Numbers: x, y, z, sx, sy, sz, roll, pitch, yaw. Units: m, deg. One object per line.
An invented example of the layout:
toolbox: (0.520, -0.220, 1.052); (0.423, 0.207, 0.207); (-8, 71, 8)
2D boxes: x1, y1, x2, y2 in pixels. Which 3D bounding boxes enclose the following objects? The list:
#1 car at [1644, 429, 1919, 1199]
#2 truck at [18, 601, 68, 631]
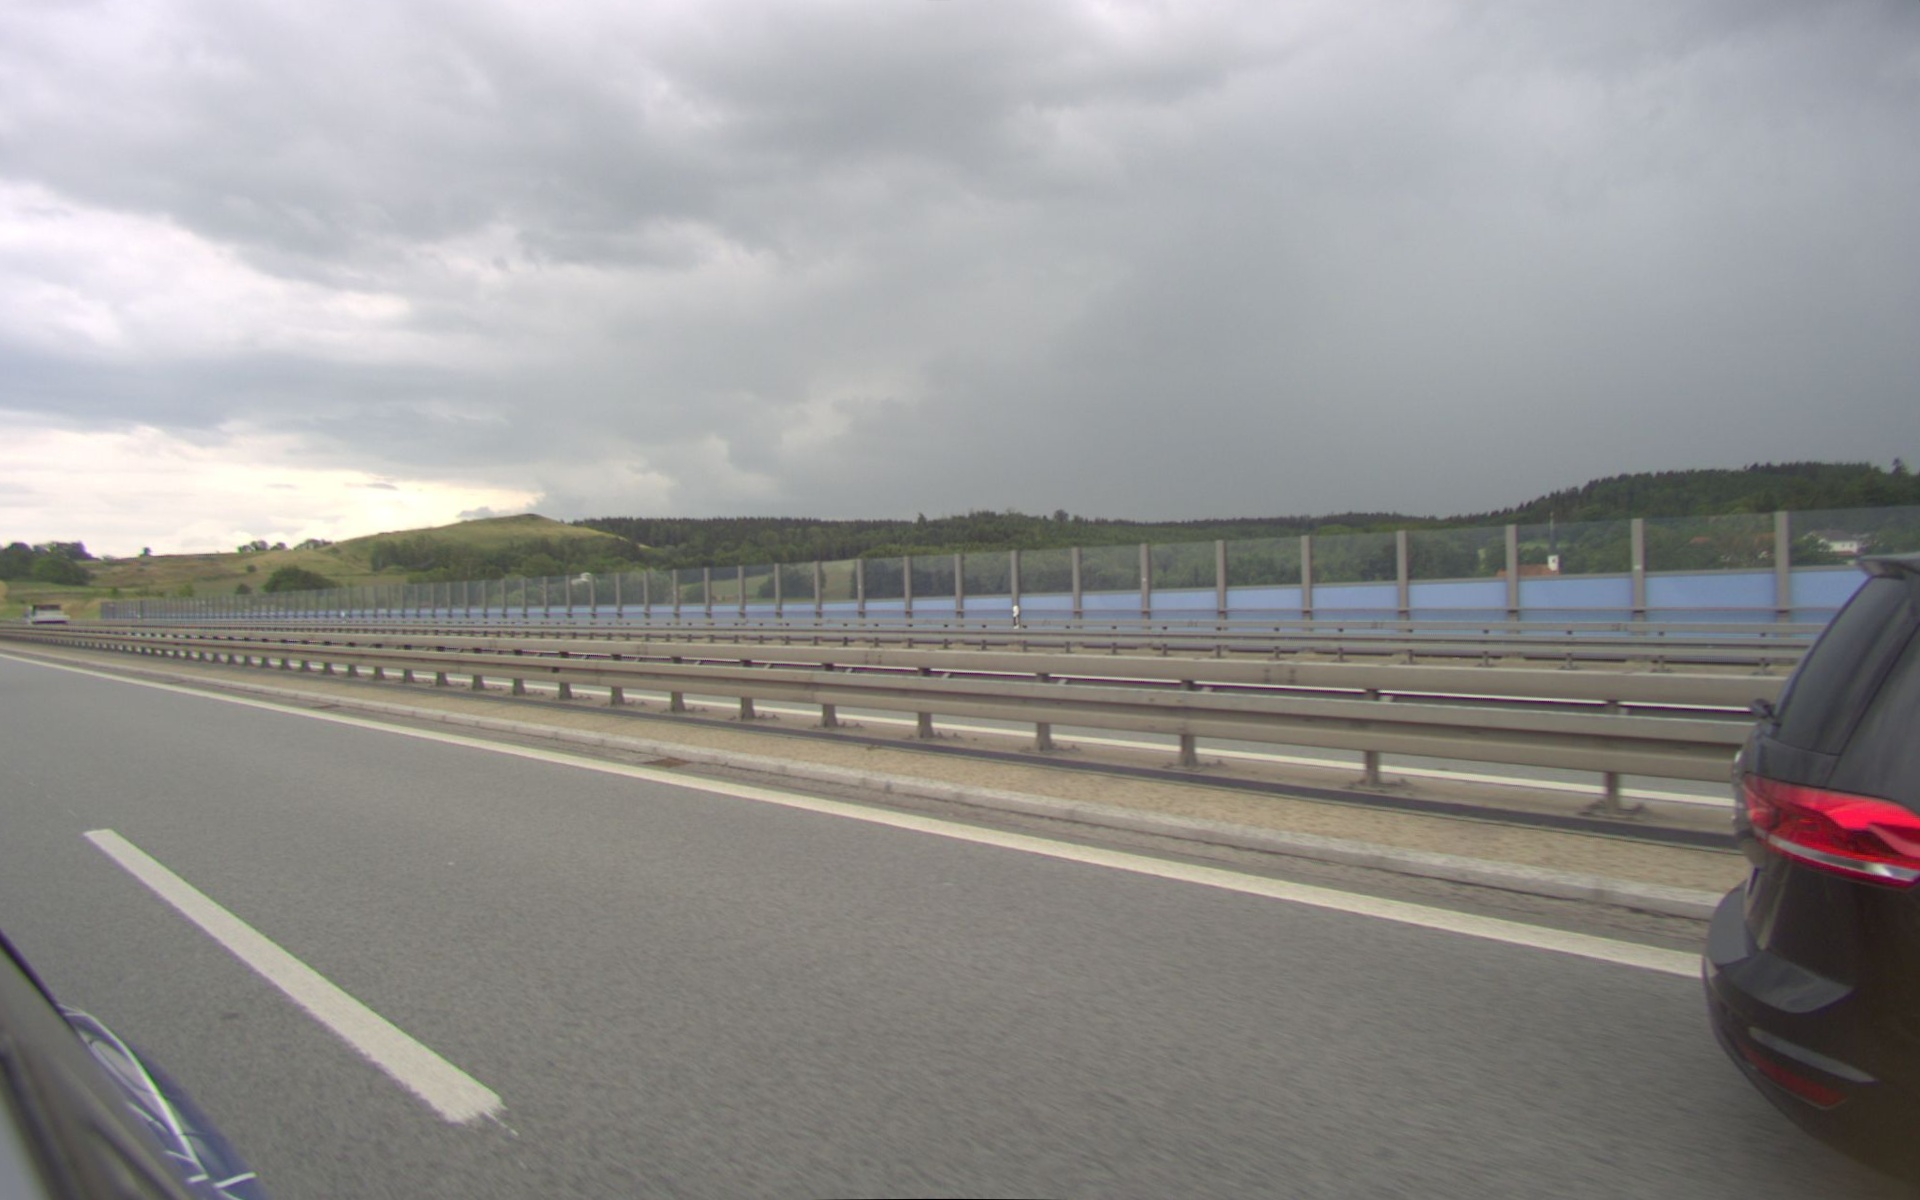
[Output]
car: (4.124, 0.477, 1.126); (5.393, 1.683, 1.877); (-1, 0, 41)
truck: (-77.336, 1.356, 85.309); (7.447, 2.450, 2.249); (-1, 0, 41)
